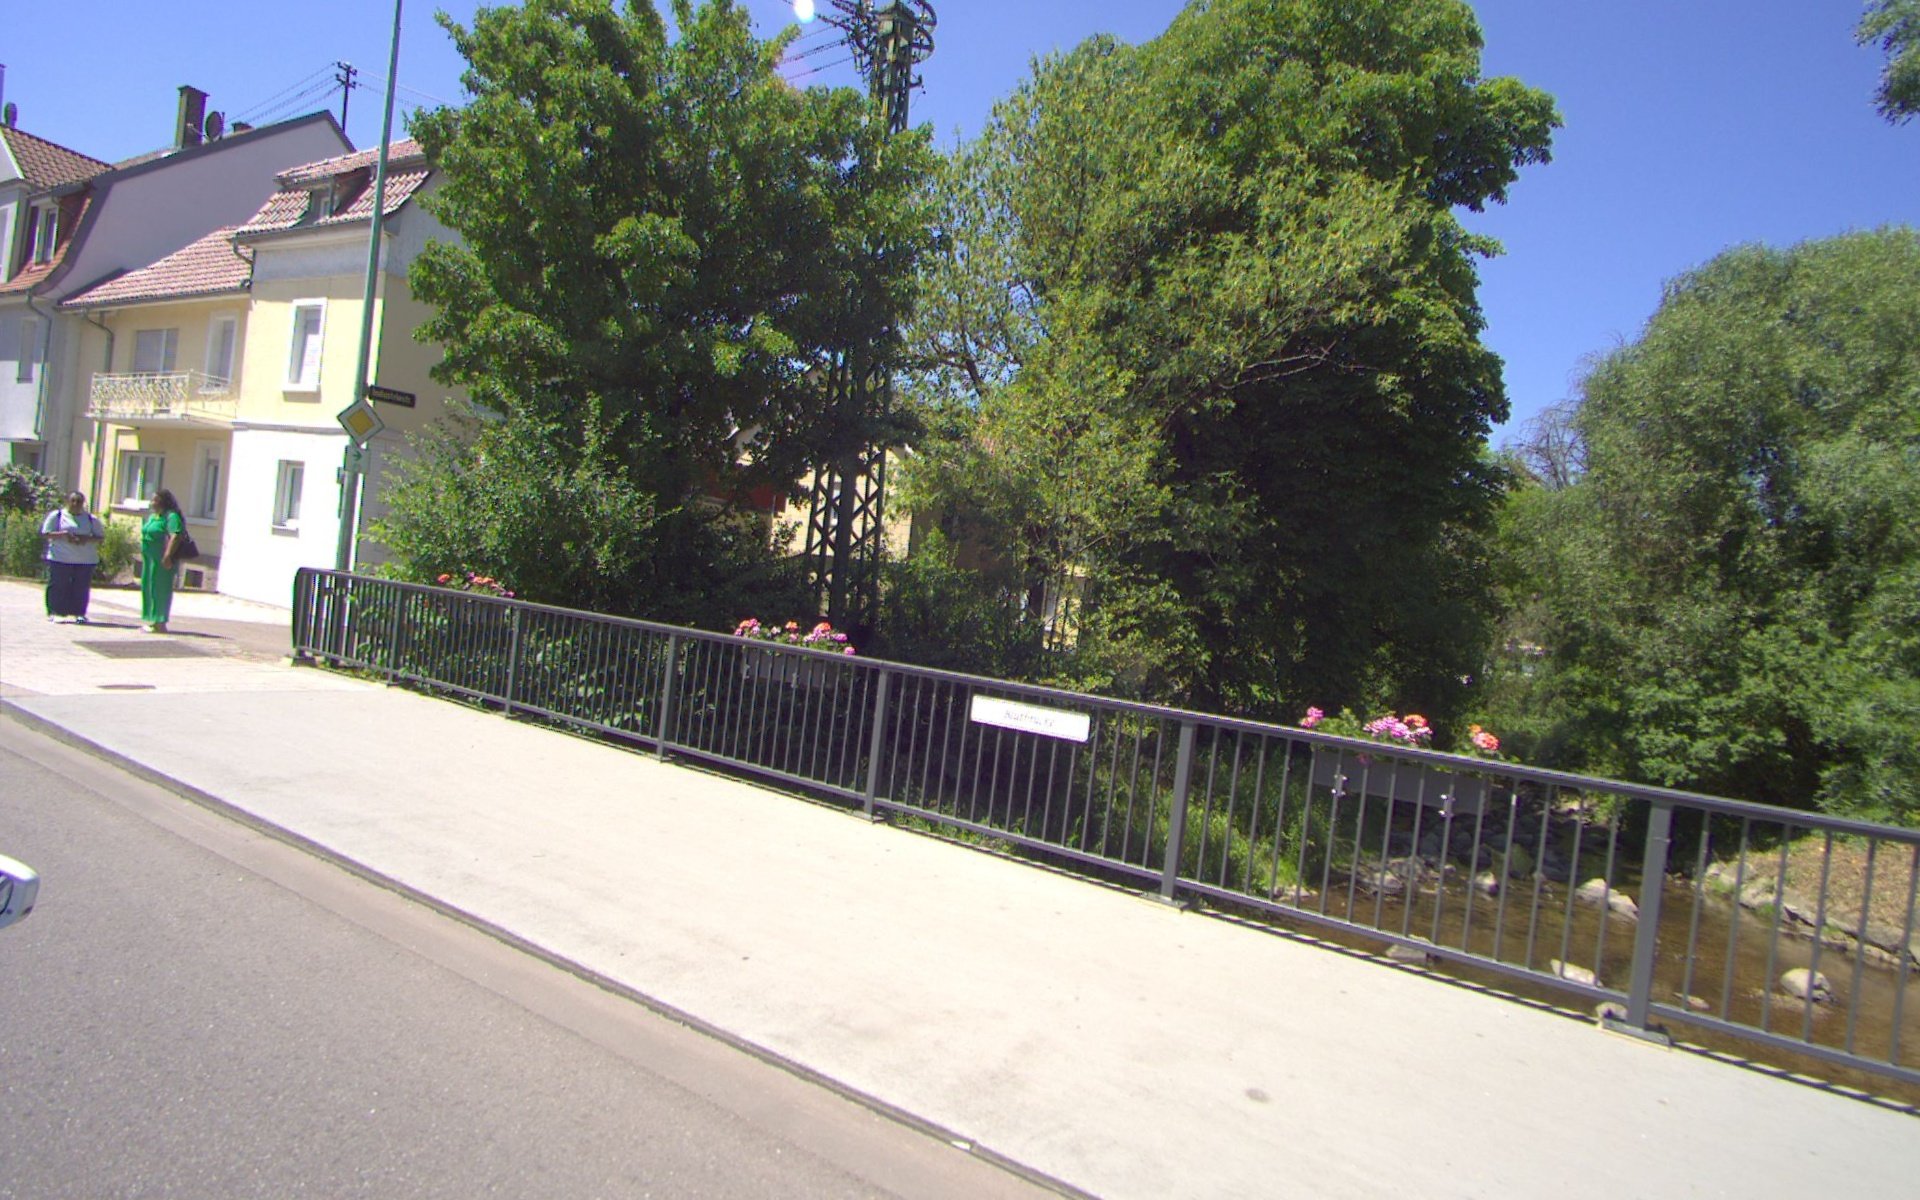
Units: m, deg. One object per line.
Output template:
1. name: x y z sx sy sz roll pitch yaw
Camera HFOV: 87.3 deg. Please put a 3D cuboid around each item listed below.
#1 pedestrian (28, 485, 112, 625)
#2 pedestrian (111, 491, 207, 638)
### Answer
1. pedestrian: -11.156 -0.559 12.618 0.512 1.678 0.636 7 5 29
2. pedestrian: -10.027 -0.445 12.605 0.789 1.731 0.520 6 4 11
